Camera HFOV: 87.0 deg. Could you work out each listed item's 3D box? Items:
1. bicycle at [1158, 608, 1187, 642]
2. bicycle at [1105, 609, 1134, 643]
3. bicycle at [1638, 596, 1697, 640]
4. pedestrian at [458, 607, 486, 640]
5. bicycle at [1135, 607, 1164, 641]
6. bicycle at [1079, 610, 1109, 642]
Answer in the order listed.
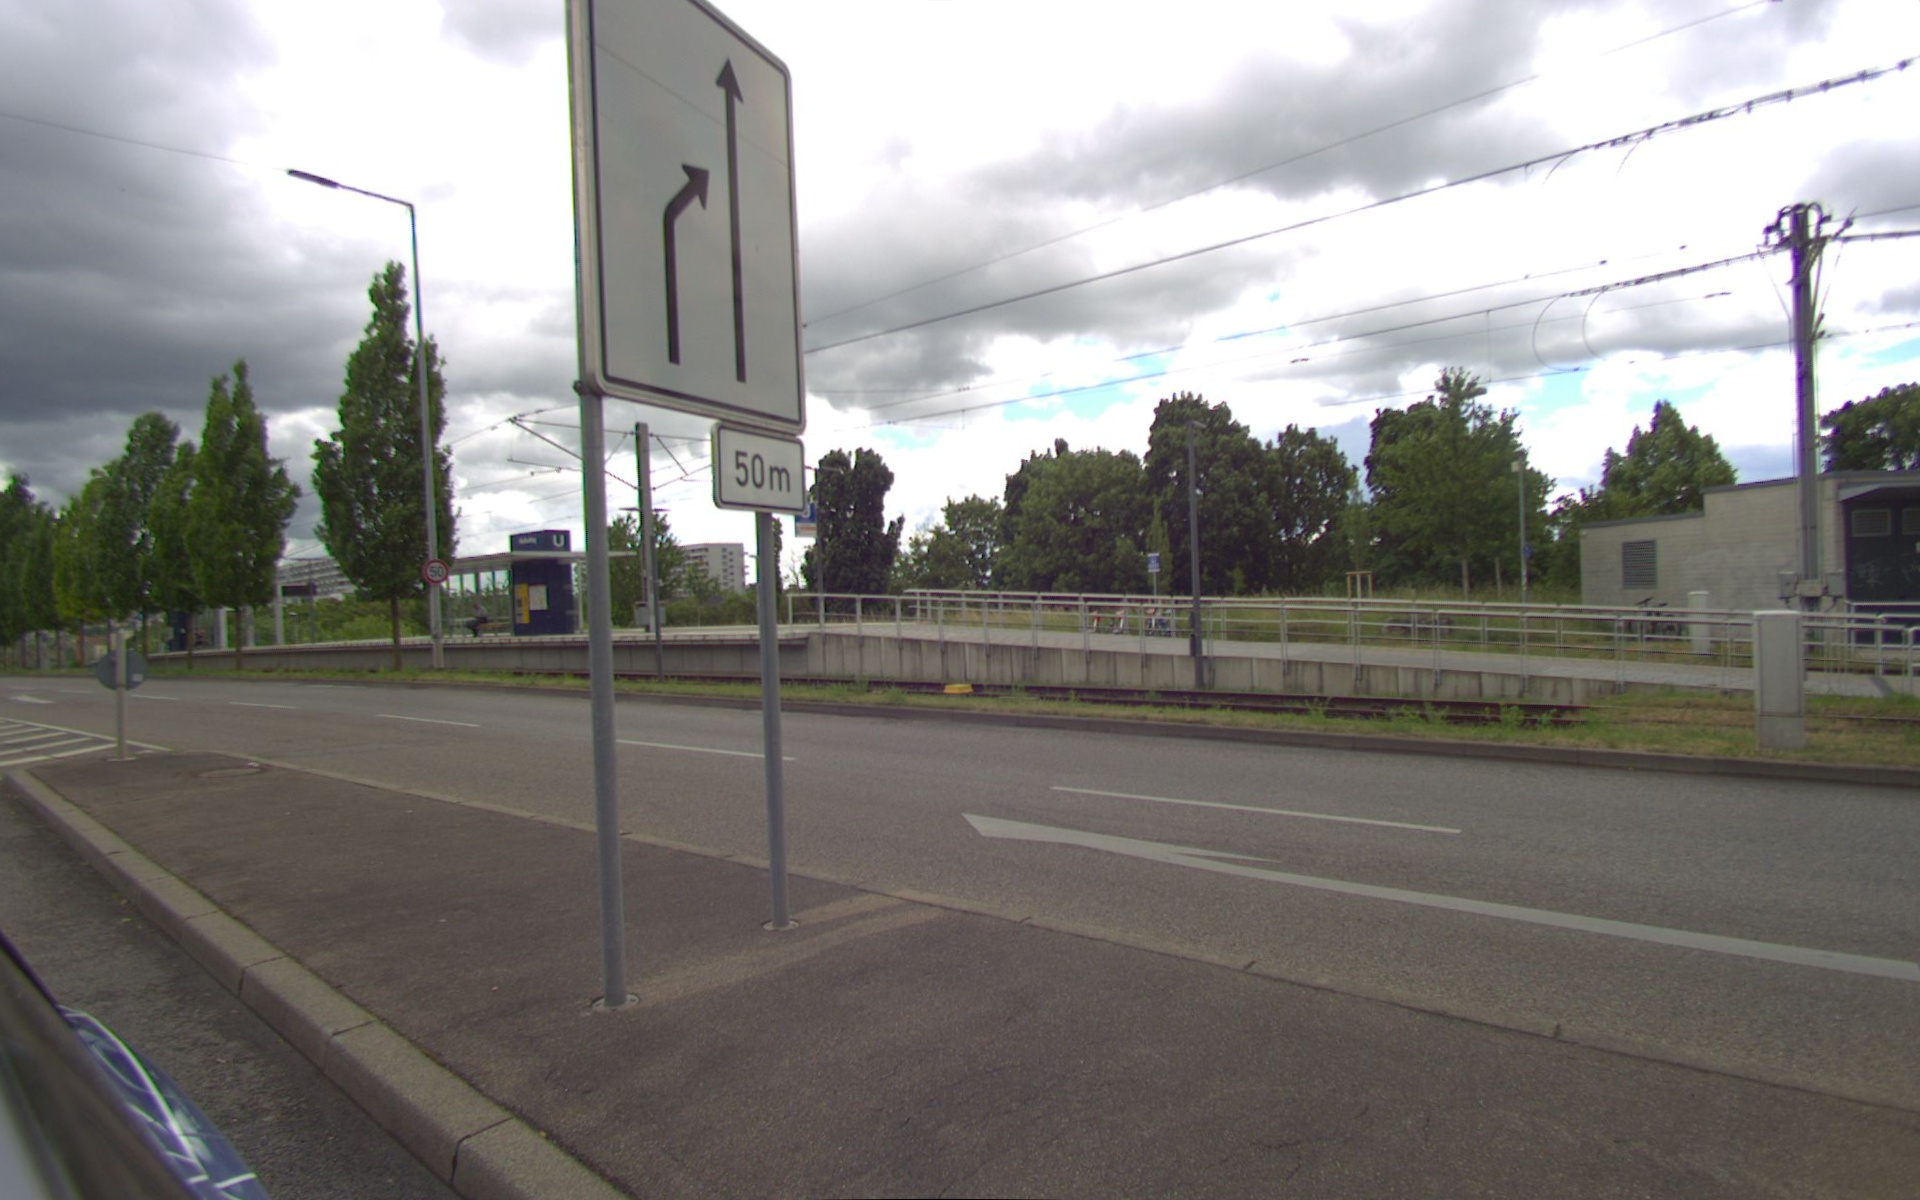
[{"bbox_3d":[7.038,0.819,33.461,0.490,1.095,1.466,-2,-1,30],"label":"bicycle"},{"bbox_3d":[5.432,0.871,34.452,0.490,1.095,1.466,-2,-1,30],"label":"bicycle"},{"bbox_3d":[18.186,0.461,26.053,0.486,1.095,1.480,-1,-1,3],"label":"bicycle"},{"bbox_3d":[-18.259,0.881,37.866,0.781,1.211,0.656,-2,-1,33],"label":"pedestrian"},{"bbox_3d":[6.372,0.804,33.941,0.490,1.095,1.466,-2,-1,30],"label":"bicycle"},{"bbox_3d":[4.675,0.898,35.154,0.490,1.095,1.466,-2,-1,30],"label":"bicycle"}]
